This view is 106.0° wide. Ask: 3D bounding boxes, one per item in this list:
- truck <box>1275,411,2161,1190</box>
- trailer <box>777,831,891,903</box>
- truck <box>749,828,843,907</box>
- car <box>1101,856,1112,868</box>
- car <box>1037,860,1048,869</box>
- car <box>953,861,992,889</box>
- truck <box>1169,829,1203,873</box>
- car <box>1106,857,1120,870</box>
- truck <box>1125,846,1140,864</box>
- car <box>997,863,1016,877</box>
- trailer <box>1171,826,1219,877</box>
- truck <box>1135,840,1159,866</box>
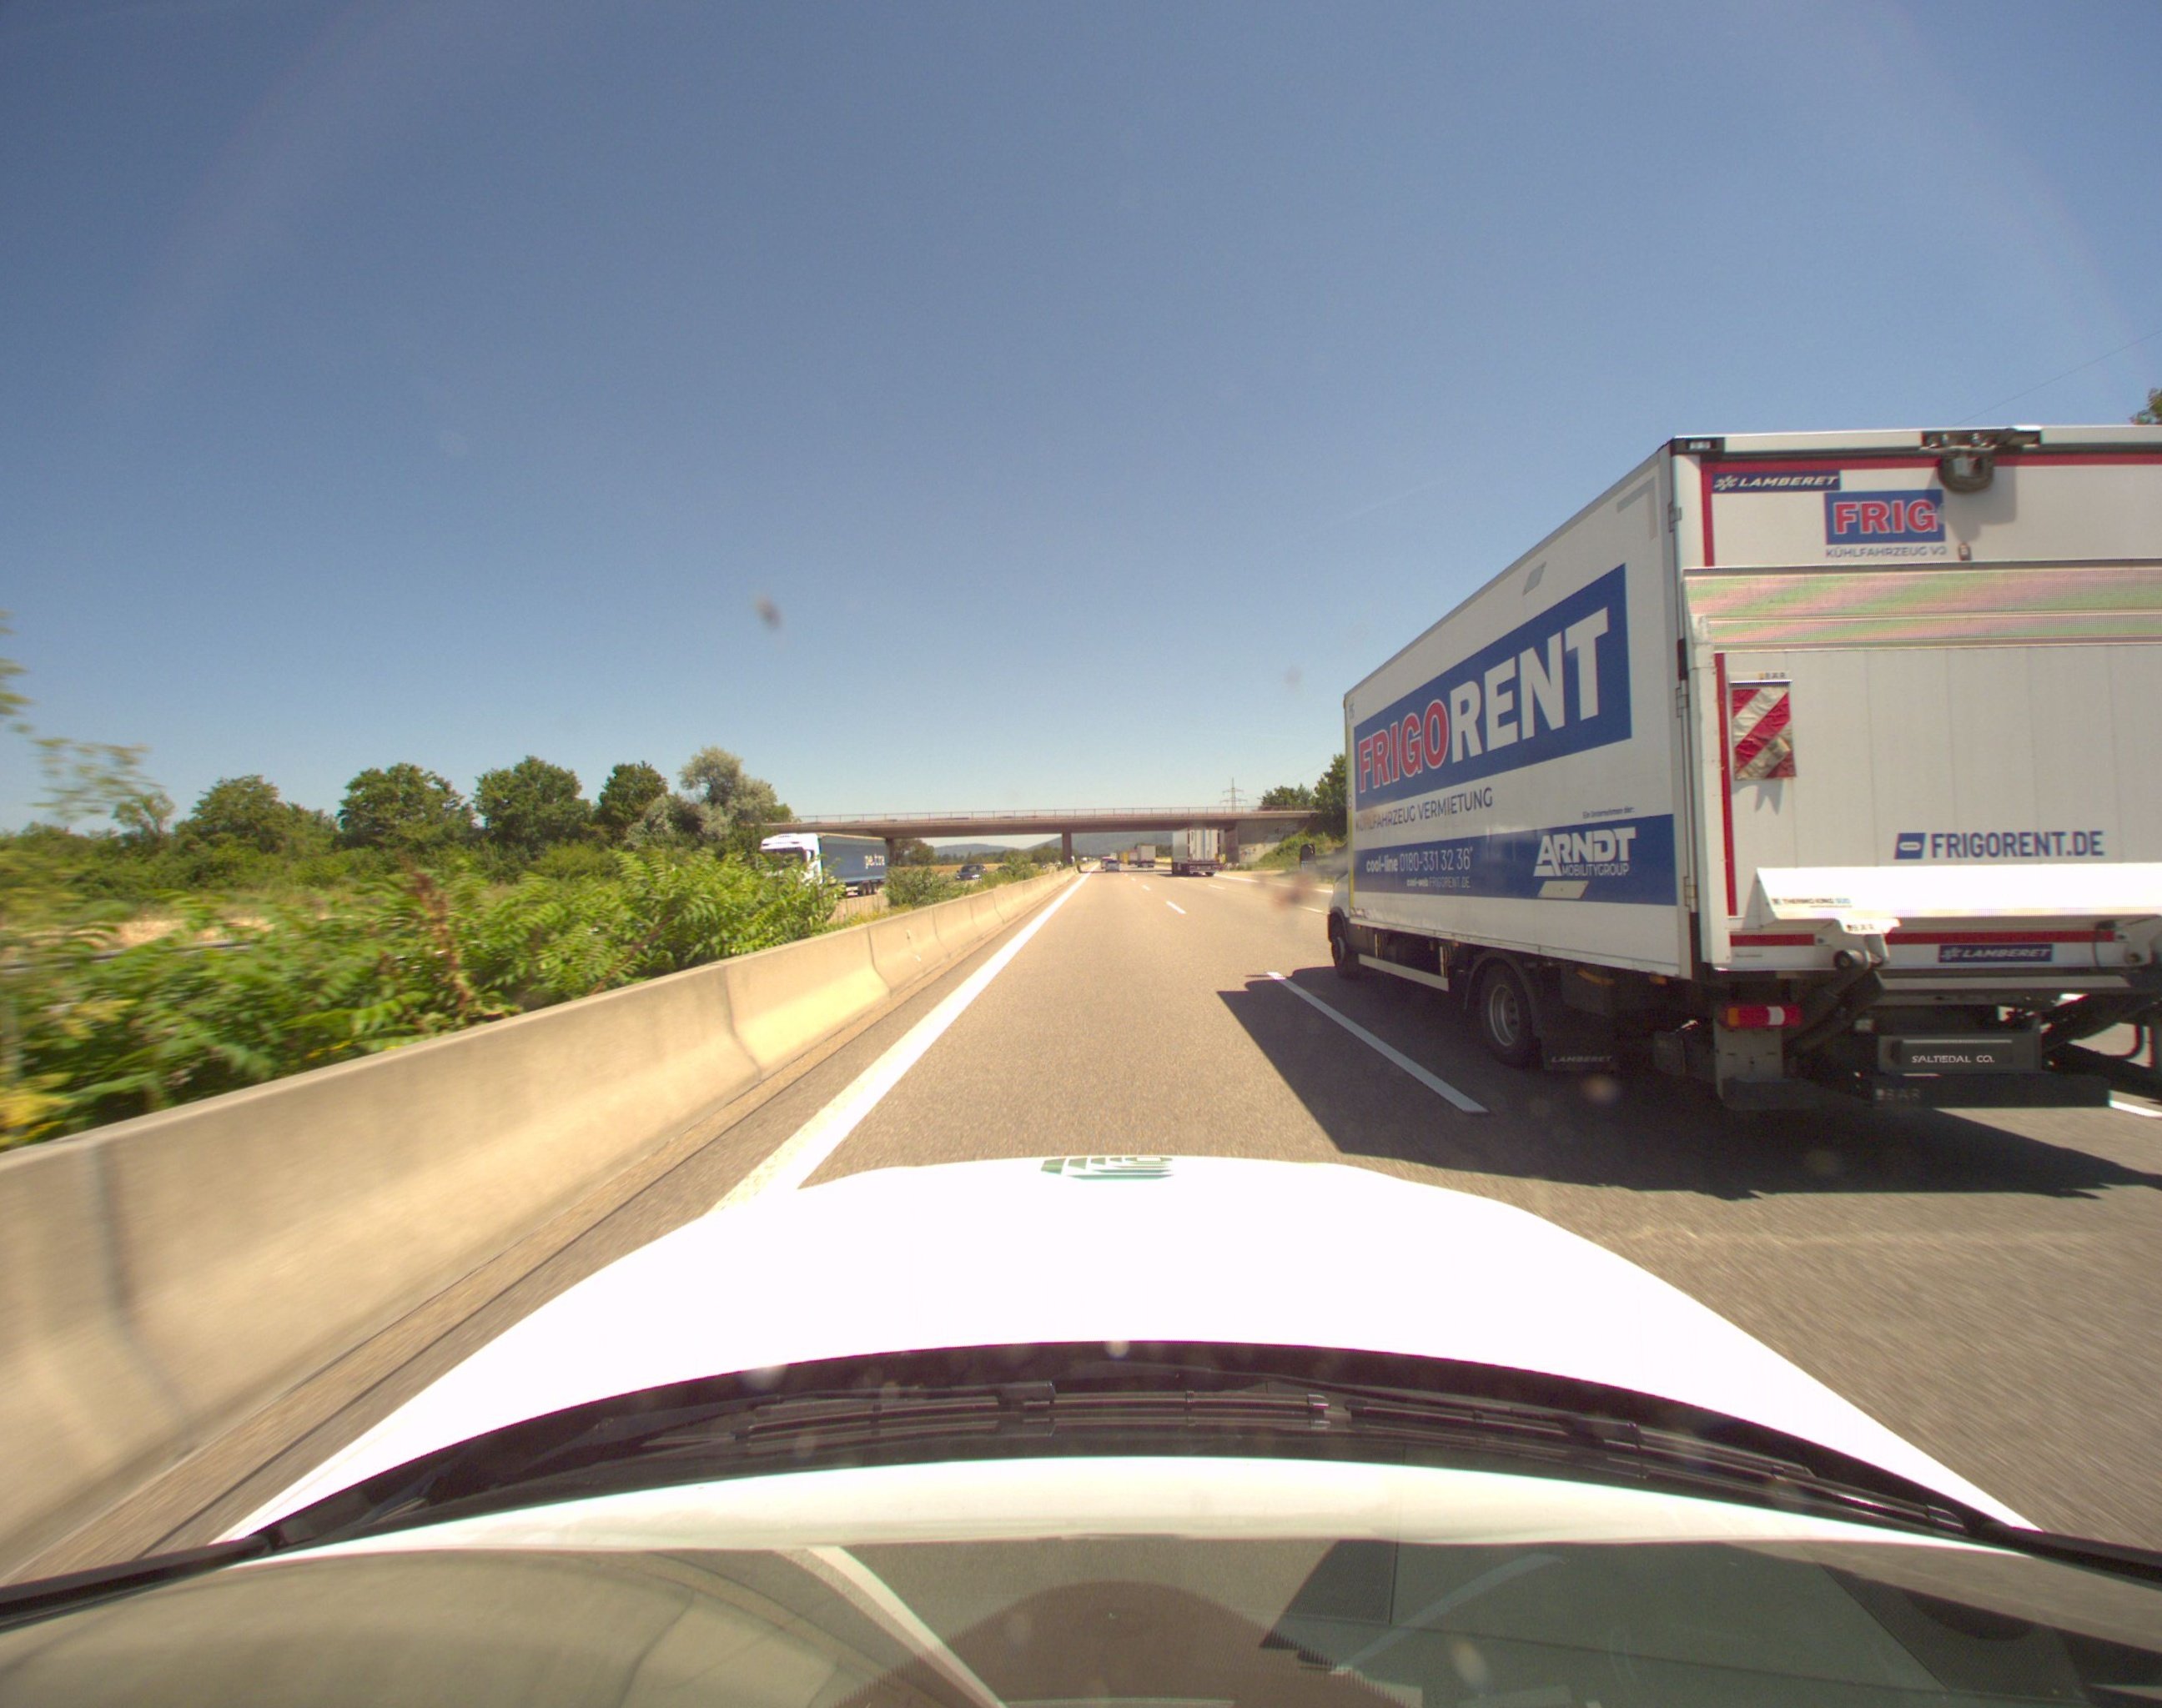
[{"bbox_3d":[4.122,-0.222,7.620,2.772,3.373,8.128,-1,0,1],"label":"truck"},{"bbox_3d":[-15.500,0.759,52.632,2.824,3.938,13.225,-3,0,1],"label":"trailer"},{"bbox_3d":[-15.705,0.733,45.317,2.824,3.938,5.826,-3,0,1],"label":"truck"},{"bbox_3d":[4.094,1.270,130.185,1.754,1.850,4.003,-1,0,3],"label":"car"},{"bbox_3d":[-7.917,2.185,168.986,1.798,1.673,4.002,-2,0,2],"label":"car"},{"bbox_3d":[-7.427,1.396,56.109,1.901,1.737,4.124,-3,0,2],"label":"car"},{"bbox_3d":[10.307,-0.280,80.407,2.784,4.164,5.725,-1,0,2],"label":"truck"},{"bbox_3d":[3.949,1.160,99.186,1.601,1.467,4.003,-1,0,3],"label":"car"},{"bbox_3d":[13.653,0.348,217.181,3.508,4.416,14.595,-3,0,2],"label":"truck"},{"bbox_3d":[-9.399,1.980,103.208,1.799,1.544,3.878,-4,0,2],"label":"car"},{"bbox_3d":[10.079,-0.166,73.487,2.784,4.164,13.961,-1,0,2],"label":"trailer"},{"bbox_3d":[12.101,-0.170,149.926,3.508,4.416,14.595,-3,0,2],"label":"truck"}]
